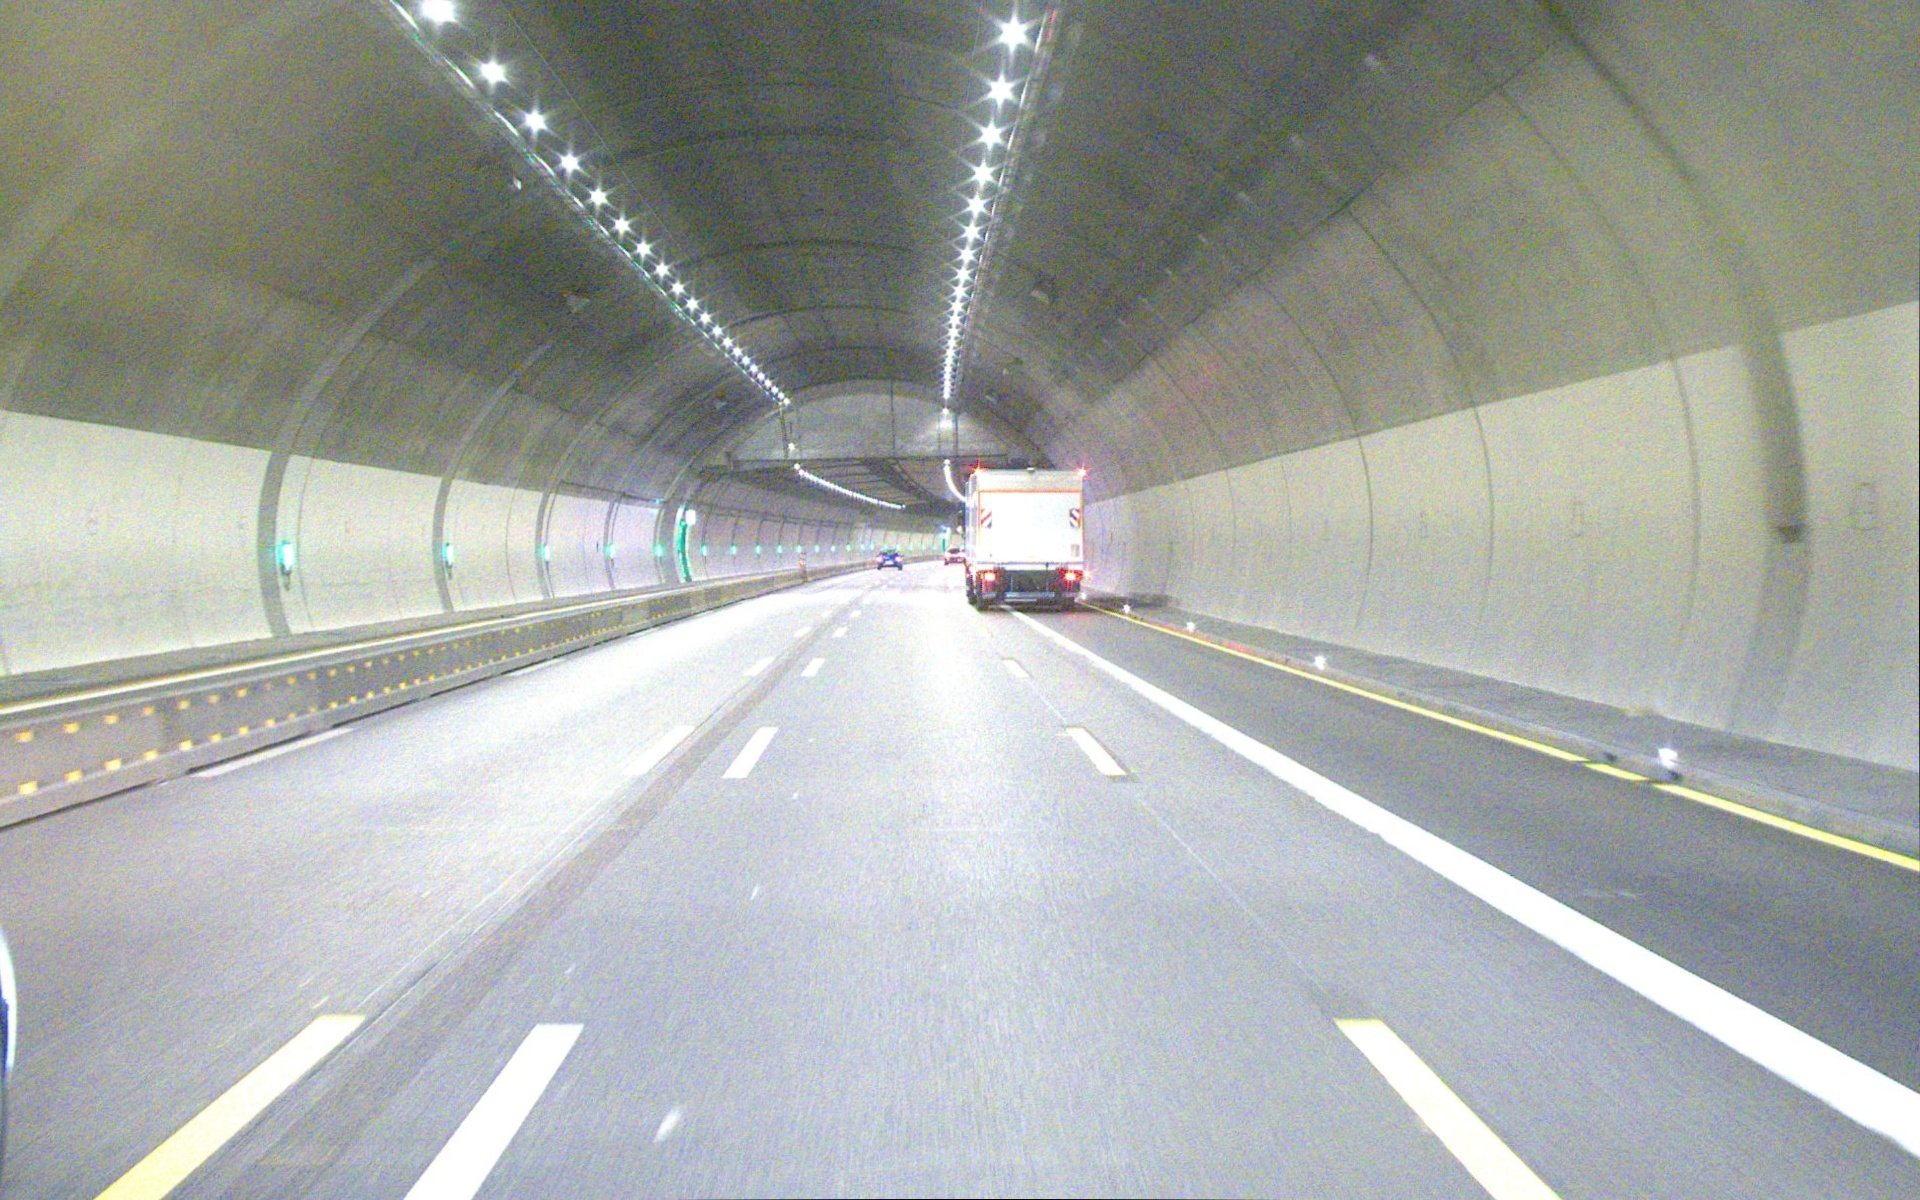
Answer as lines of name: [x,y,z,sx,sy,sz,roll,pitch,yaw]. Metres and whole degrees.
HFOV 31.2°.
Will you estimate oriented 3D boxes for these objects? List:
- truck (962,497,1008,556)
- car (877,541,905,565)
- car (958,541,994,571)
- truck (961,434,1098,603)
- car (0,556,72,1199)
truck: [1.759,-5.072,240.118,3.066,3.904,10.367,-1,0,1]
car: [-4.527,-3.086,225.501,1.758,1.456,4.119,-1,2,0]
car: [0.814,-2.246,175.060,1.739,1.456,3.960,-1,2,1]
truck: [1.639,-1.938,85.944,3.092,3.904,10.368,-1,0,0]
car: [-2.988,0.655,5.532,1.903,1.480,4.944,1,1,-1]
